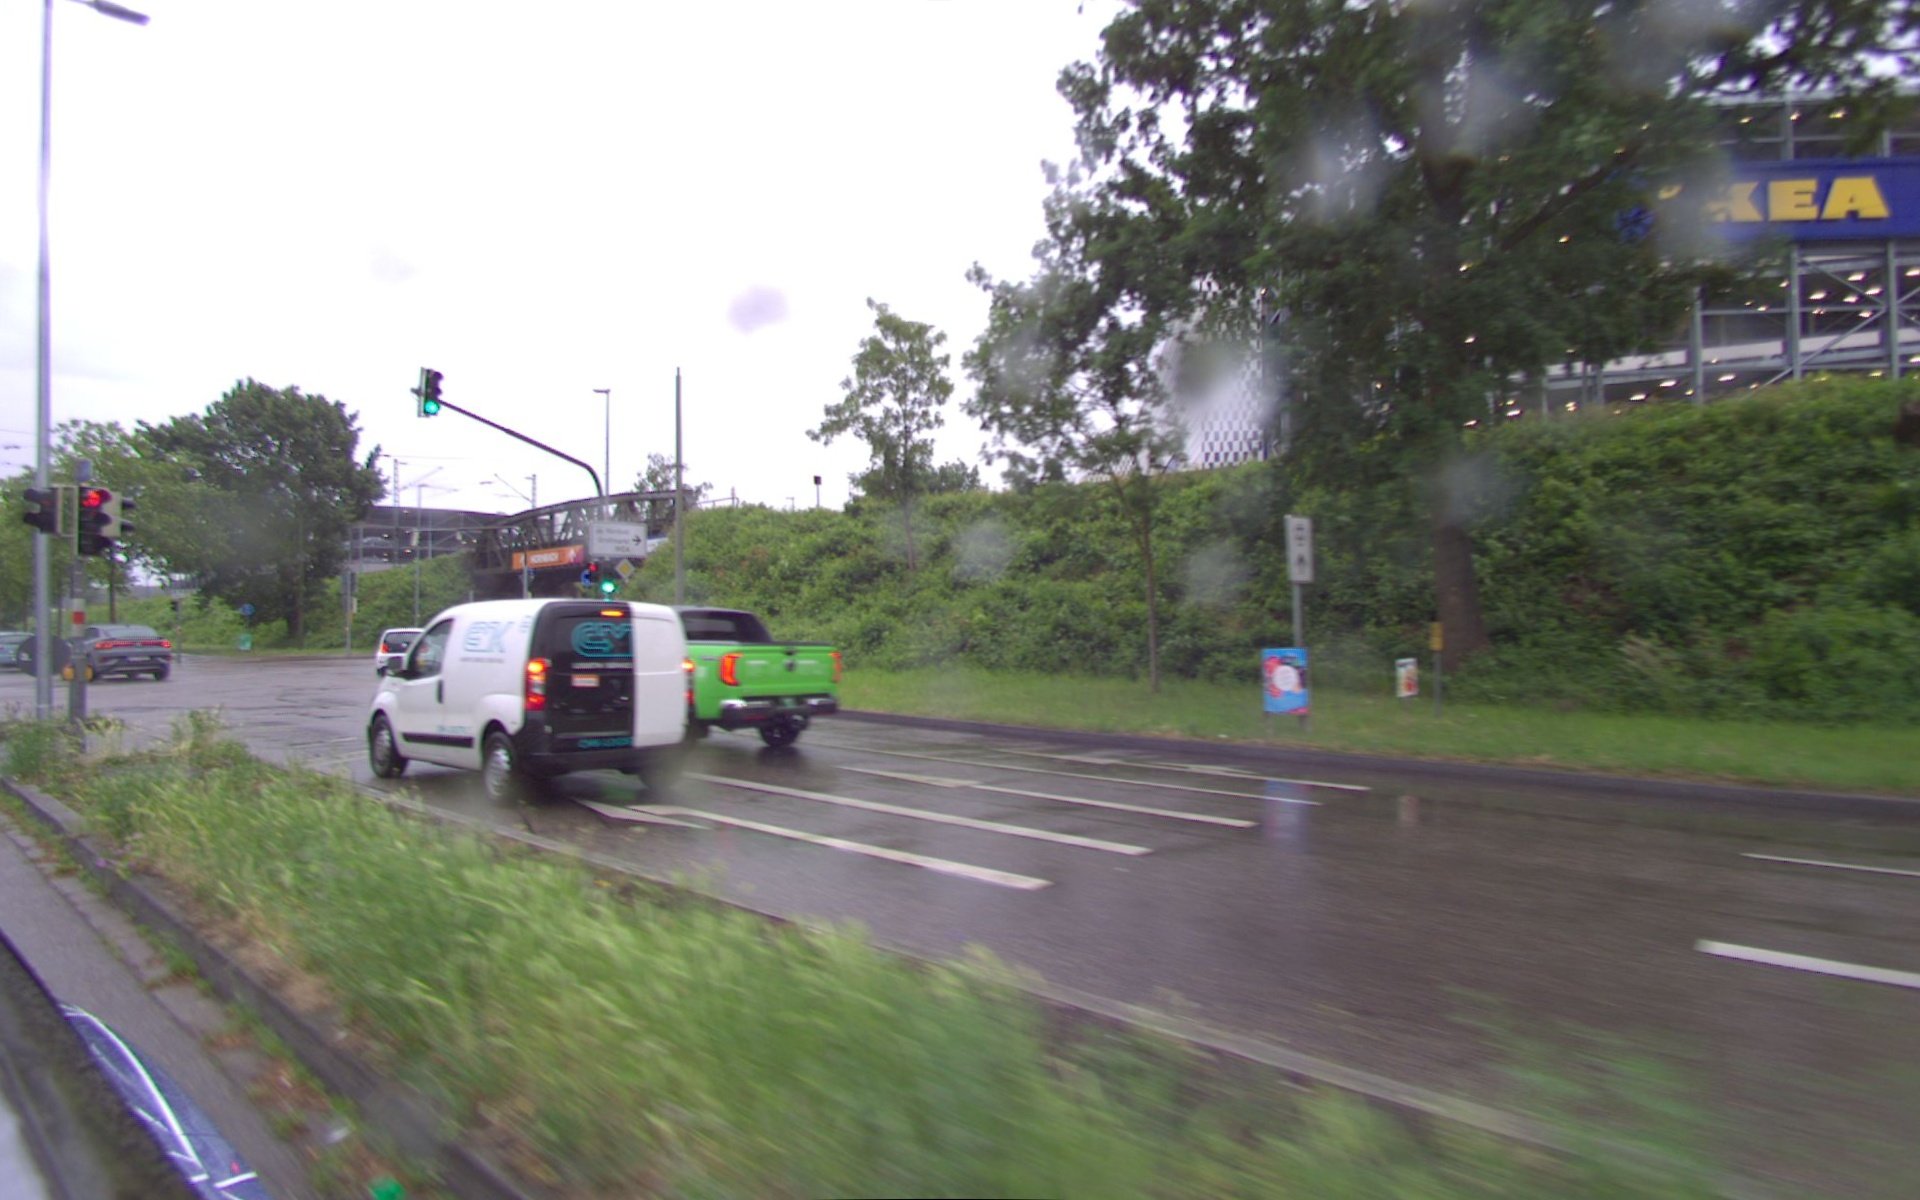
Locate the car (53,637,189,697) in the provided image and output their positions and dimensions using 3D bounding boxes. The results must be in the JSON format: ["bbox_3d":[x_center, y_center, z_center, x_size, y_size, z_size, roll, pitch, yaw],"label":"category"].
[{"bbox_3d":[-24.401,1.877,29.388,4.378,1.614,1.954,-2,-2,35],"label":"car"}]

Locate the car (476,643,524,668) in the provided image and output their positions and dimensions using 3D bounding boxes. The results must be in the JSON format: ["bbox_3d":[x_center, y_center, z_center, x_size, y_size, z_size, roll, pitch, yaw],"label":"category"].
[{"bbox_3d":[-26.660,3.193,58.744,1.667,1.358,3.475,0,-2,-9],"label":"car"}]

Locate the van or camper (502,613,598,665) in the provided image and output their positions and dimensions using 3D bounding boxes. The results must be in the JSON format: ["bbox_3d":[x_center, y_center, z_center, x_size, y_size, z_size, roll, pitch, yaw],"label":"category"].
[{"bbox_3d":[-22.712,2.129,56.419,1.975,2.682,6.916,0,-2,5],"label":"van or camper"}]

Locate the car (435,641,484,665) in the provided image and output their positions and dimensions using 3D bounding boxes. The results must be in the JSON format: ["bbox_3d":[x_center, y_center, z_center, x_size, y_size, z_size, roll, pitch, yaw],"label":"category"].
[{"bbox_3d":[-30.197,3.150,61.118,1.667,1.358,3.475,0,-2,-9],"label":"car"}]

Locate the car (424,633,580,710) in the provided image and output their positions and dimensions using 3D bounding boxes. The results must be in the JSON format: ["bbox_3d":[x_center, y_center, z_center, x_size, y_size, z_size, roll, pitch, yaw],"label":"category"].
[{"bbox_3d":[-10.130,1.527,22.305,3.785,1.555,1.654,-2,-3,40],"label":"car"}]

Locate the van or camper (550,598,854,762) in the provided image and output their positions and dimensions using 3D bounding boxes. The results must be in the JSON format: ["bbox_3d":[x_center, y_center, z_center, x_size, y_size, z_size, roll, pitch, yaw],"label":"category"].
[{"bbox_3d":[-3.455,0.965,13.146,4.217,1.798,1.683,-2,-3,40],"label":"van or camper"}]

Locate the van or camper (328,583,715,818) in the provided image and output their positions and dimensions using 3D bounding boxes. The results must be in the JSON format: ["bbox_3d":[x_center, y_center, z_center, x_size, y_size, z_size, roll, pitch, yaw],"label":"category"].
[{"bbox_3d":[-4.248,0.839,9.544,3.997,1.755,1.711,-2,-4,40],"label":"van or camper"}]

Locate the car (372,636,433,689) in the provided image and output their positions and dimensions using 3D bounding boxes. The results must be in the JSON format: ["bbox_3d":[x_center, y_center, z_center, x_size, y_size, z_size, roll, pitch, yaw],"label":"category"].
[{"bbox_3d":[-17.958,1.977,32.697,1.625,1.614,3.578,1,-2,-28],"label":"car"}]

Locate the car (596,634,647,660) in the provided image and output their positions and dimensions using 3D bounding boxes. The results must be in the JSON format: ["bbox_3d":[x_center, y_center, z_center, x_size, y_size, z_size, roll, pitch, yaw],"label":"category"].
[{"bbox_3d":[-21.447,2.940,64.182,1.673,1.566,3.799,0,-2,5],"label":"car"}]

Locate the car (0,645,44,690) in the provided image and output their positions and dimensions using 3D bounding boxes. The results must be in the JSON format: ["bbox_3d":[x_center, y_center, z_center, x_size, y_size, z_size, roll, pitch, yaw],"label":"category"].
[{"bbox_3d":[-36.182,2.504,38.209,3.617,1.614,1.677,-2,-2,36],"label":"car"}]
